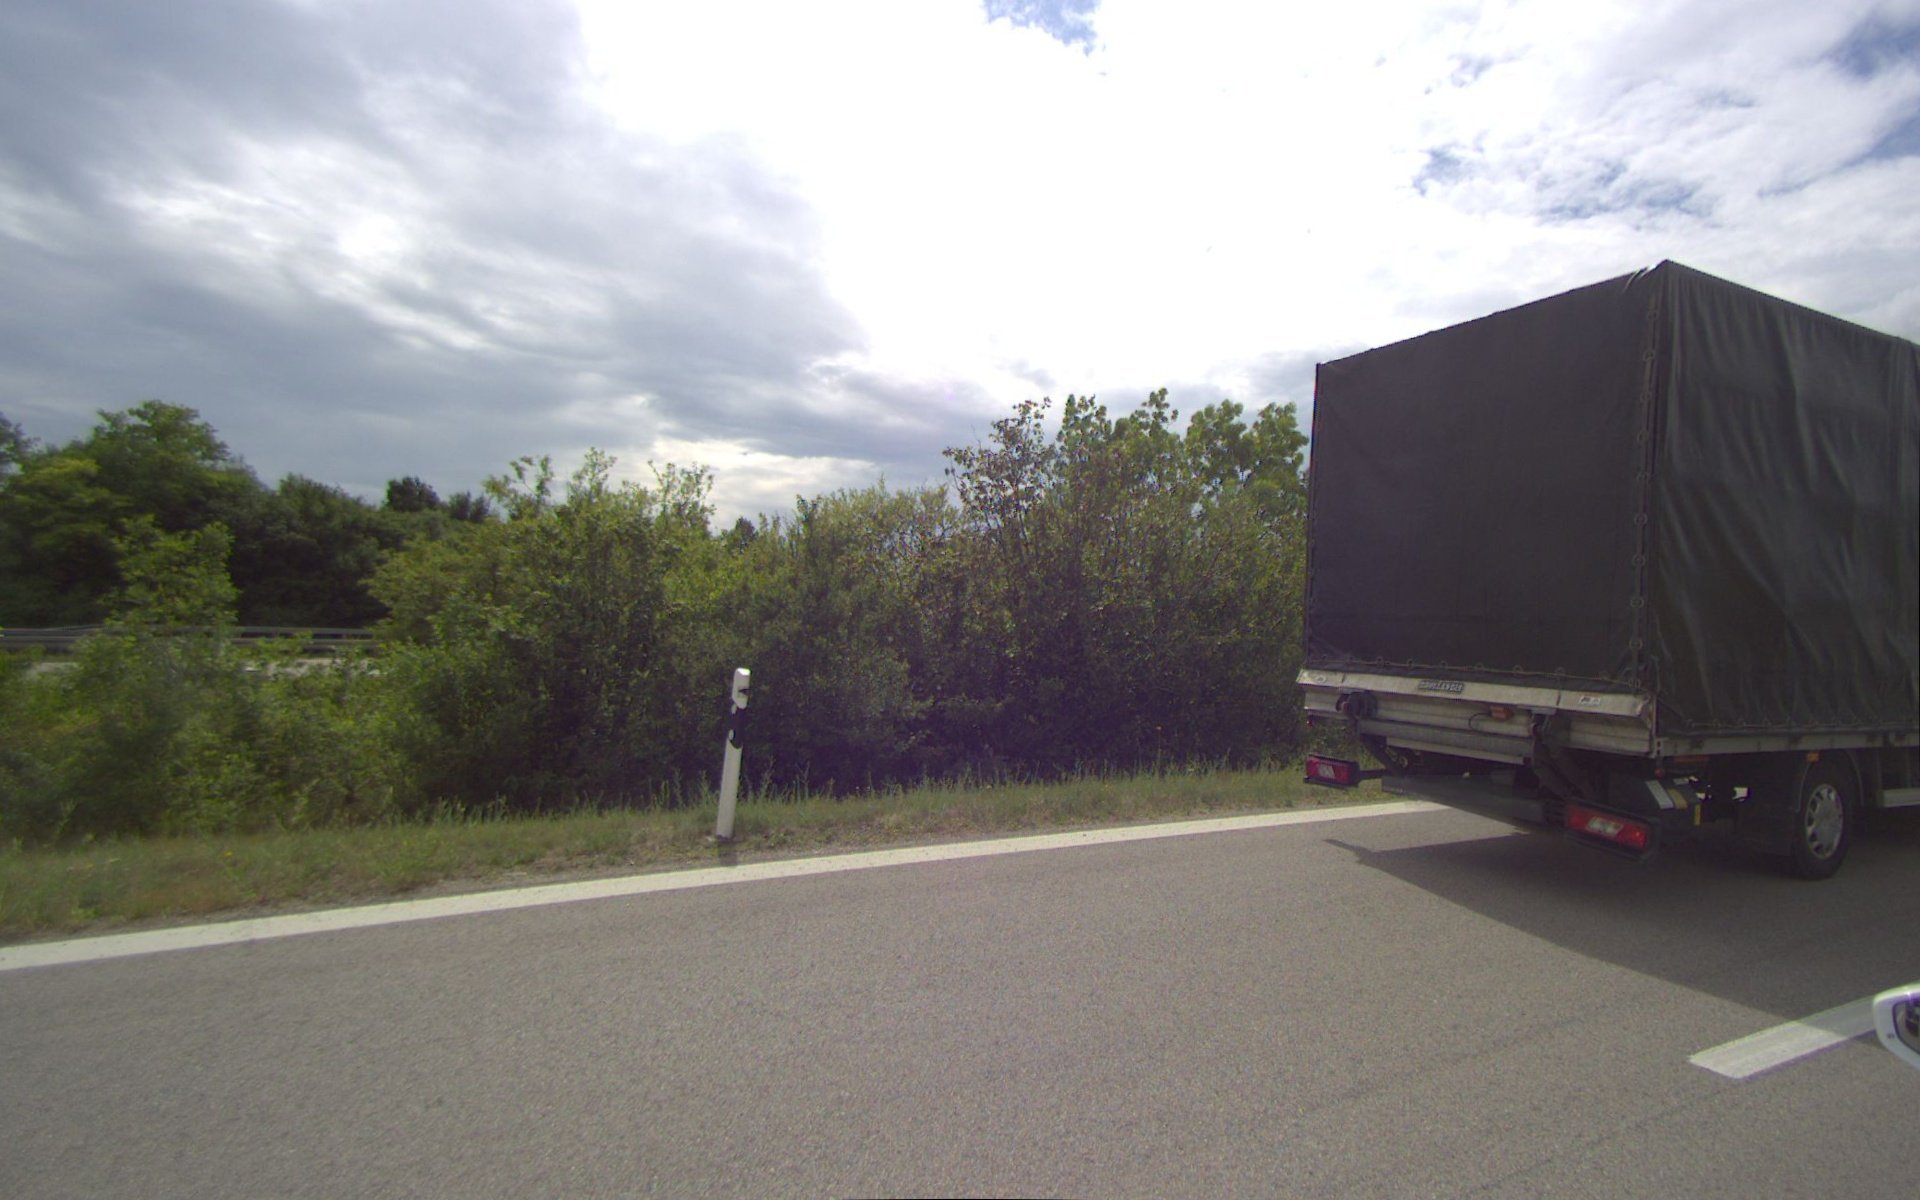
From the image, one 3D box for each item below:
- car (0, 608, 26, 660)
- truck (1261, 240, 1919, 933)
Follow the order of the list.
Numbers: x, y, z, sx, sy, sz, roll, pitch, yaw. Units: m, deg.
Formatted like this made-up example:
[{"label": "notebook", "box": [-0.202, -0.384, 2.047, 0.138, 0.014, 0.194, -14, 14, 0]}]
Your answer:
[{"label": "car", "box": [-32.972, 1.070, 32.169, 1.962, 1.706, 3.999, 0, -2, 23]}, {"label": "truck", "box": [5.993, 0.048, 7.381, 7.367, 3.210, 2.553, 2, 0, -25]}]
